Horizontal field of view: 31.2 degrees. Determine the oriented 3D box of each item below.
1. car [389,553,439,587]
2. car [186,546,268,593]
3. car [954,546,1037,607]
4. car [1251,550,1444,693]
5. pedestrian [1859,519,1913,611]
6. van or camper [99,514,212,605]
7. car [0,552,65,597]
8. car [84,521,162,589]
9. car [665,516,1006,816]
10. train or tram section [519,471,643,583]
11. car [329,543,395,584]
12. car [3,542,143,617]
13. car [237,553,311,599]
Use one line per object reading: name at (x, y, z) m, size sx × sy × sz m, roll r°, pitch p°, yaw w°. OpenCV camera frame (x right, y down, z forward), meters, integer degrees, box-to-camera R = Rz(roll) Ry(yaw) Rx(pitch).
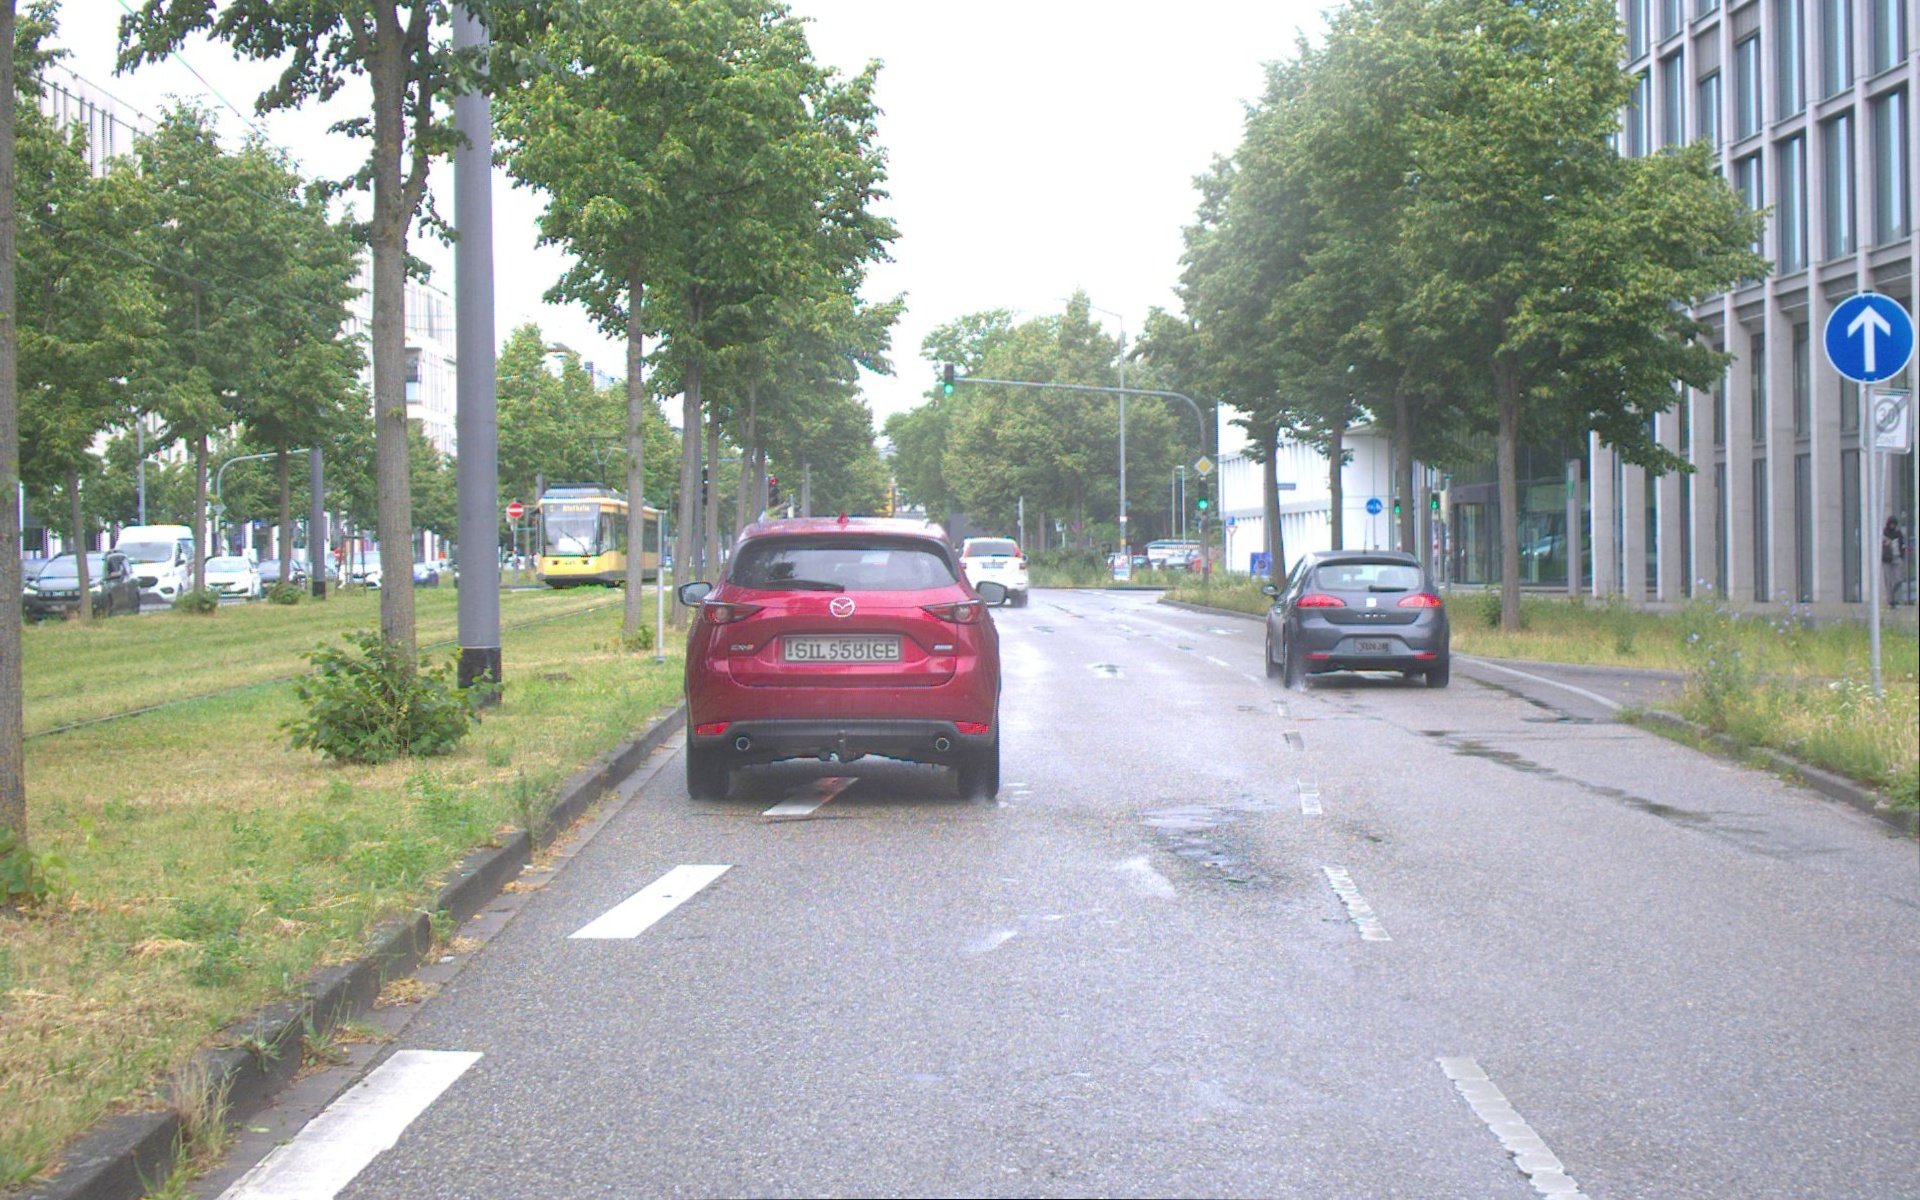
car at (-26.975, -1.486, 169.953) m, size 1.993 × 1.612 × 4.001 m, roll 0°, pitch 1°, yaw -3°
car at (-23.674, -1.002, 111.168) m, size 1.884 × 1.454 × 4.000 m, roll 0°, pitch 1°, yaw -1°
car at (0.858, -0.608, 86.148) m, size 1.967 × 1.432 × 4.553 m, roll 1°, pitch 1°, yaw -1°
car at (4.150, 0.198, 37.299) m, size 1.743 × 1.460 × 3.781 m, roll 0°, pitch 1°, yaw 1°
pedestrian at (17.688, -0.668, 65.671) m, size 0.717 × 1.709 × 0.861 m, roll -2°, pitch 1°, yaw -2°
van or camper at (-22.182, -1.132, 94.944) m, size 1.909 × 2.402 × 5.402 m, roll -1°, pitch 1°, yaw -1°
car at (-31.501, -0.865, 115.744) m, size 1.993 × 1.479 × 4.446 m, roll 0°, pitch 1°, yaw -5°
car at (-32.288, -1.748, 132.740) m, size 2.255 × 2.553 × 4.656 m, roll 0°, pitch 1°, yaw -5°
car at (-0.759, 0.336, 21.239) m, size 1.898 × 1.671 × 4.000 m, roll 0°, pitch 1°, yaw -2°
train or tram section at (-12.971, -2.493, 118.821) m, size 3.128 × 3.646 × 13.407 m, roll 0°, pitch 1°, yaw -1°
car at (-21.081, -1.288, 121.345) m, size 1.710 × 1.399 × 4.000 m, roll 0°, pitch 1°, yaw -1°
car at (-18.787, -0.451, 72.989) m, size 1.863 × 1.519 × 4.479 m, roll -1°, pitch 1°, yaw -1°
car at (-25.057, -0.881, 125.653) m, size 1.885 × 1.454 × 4.000 m, roll 6°, pitch 1°, yaw -1°
